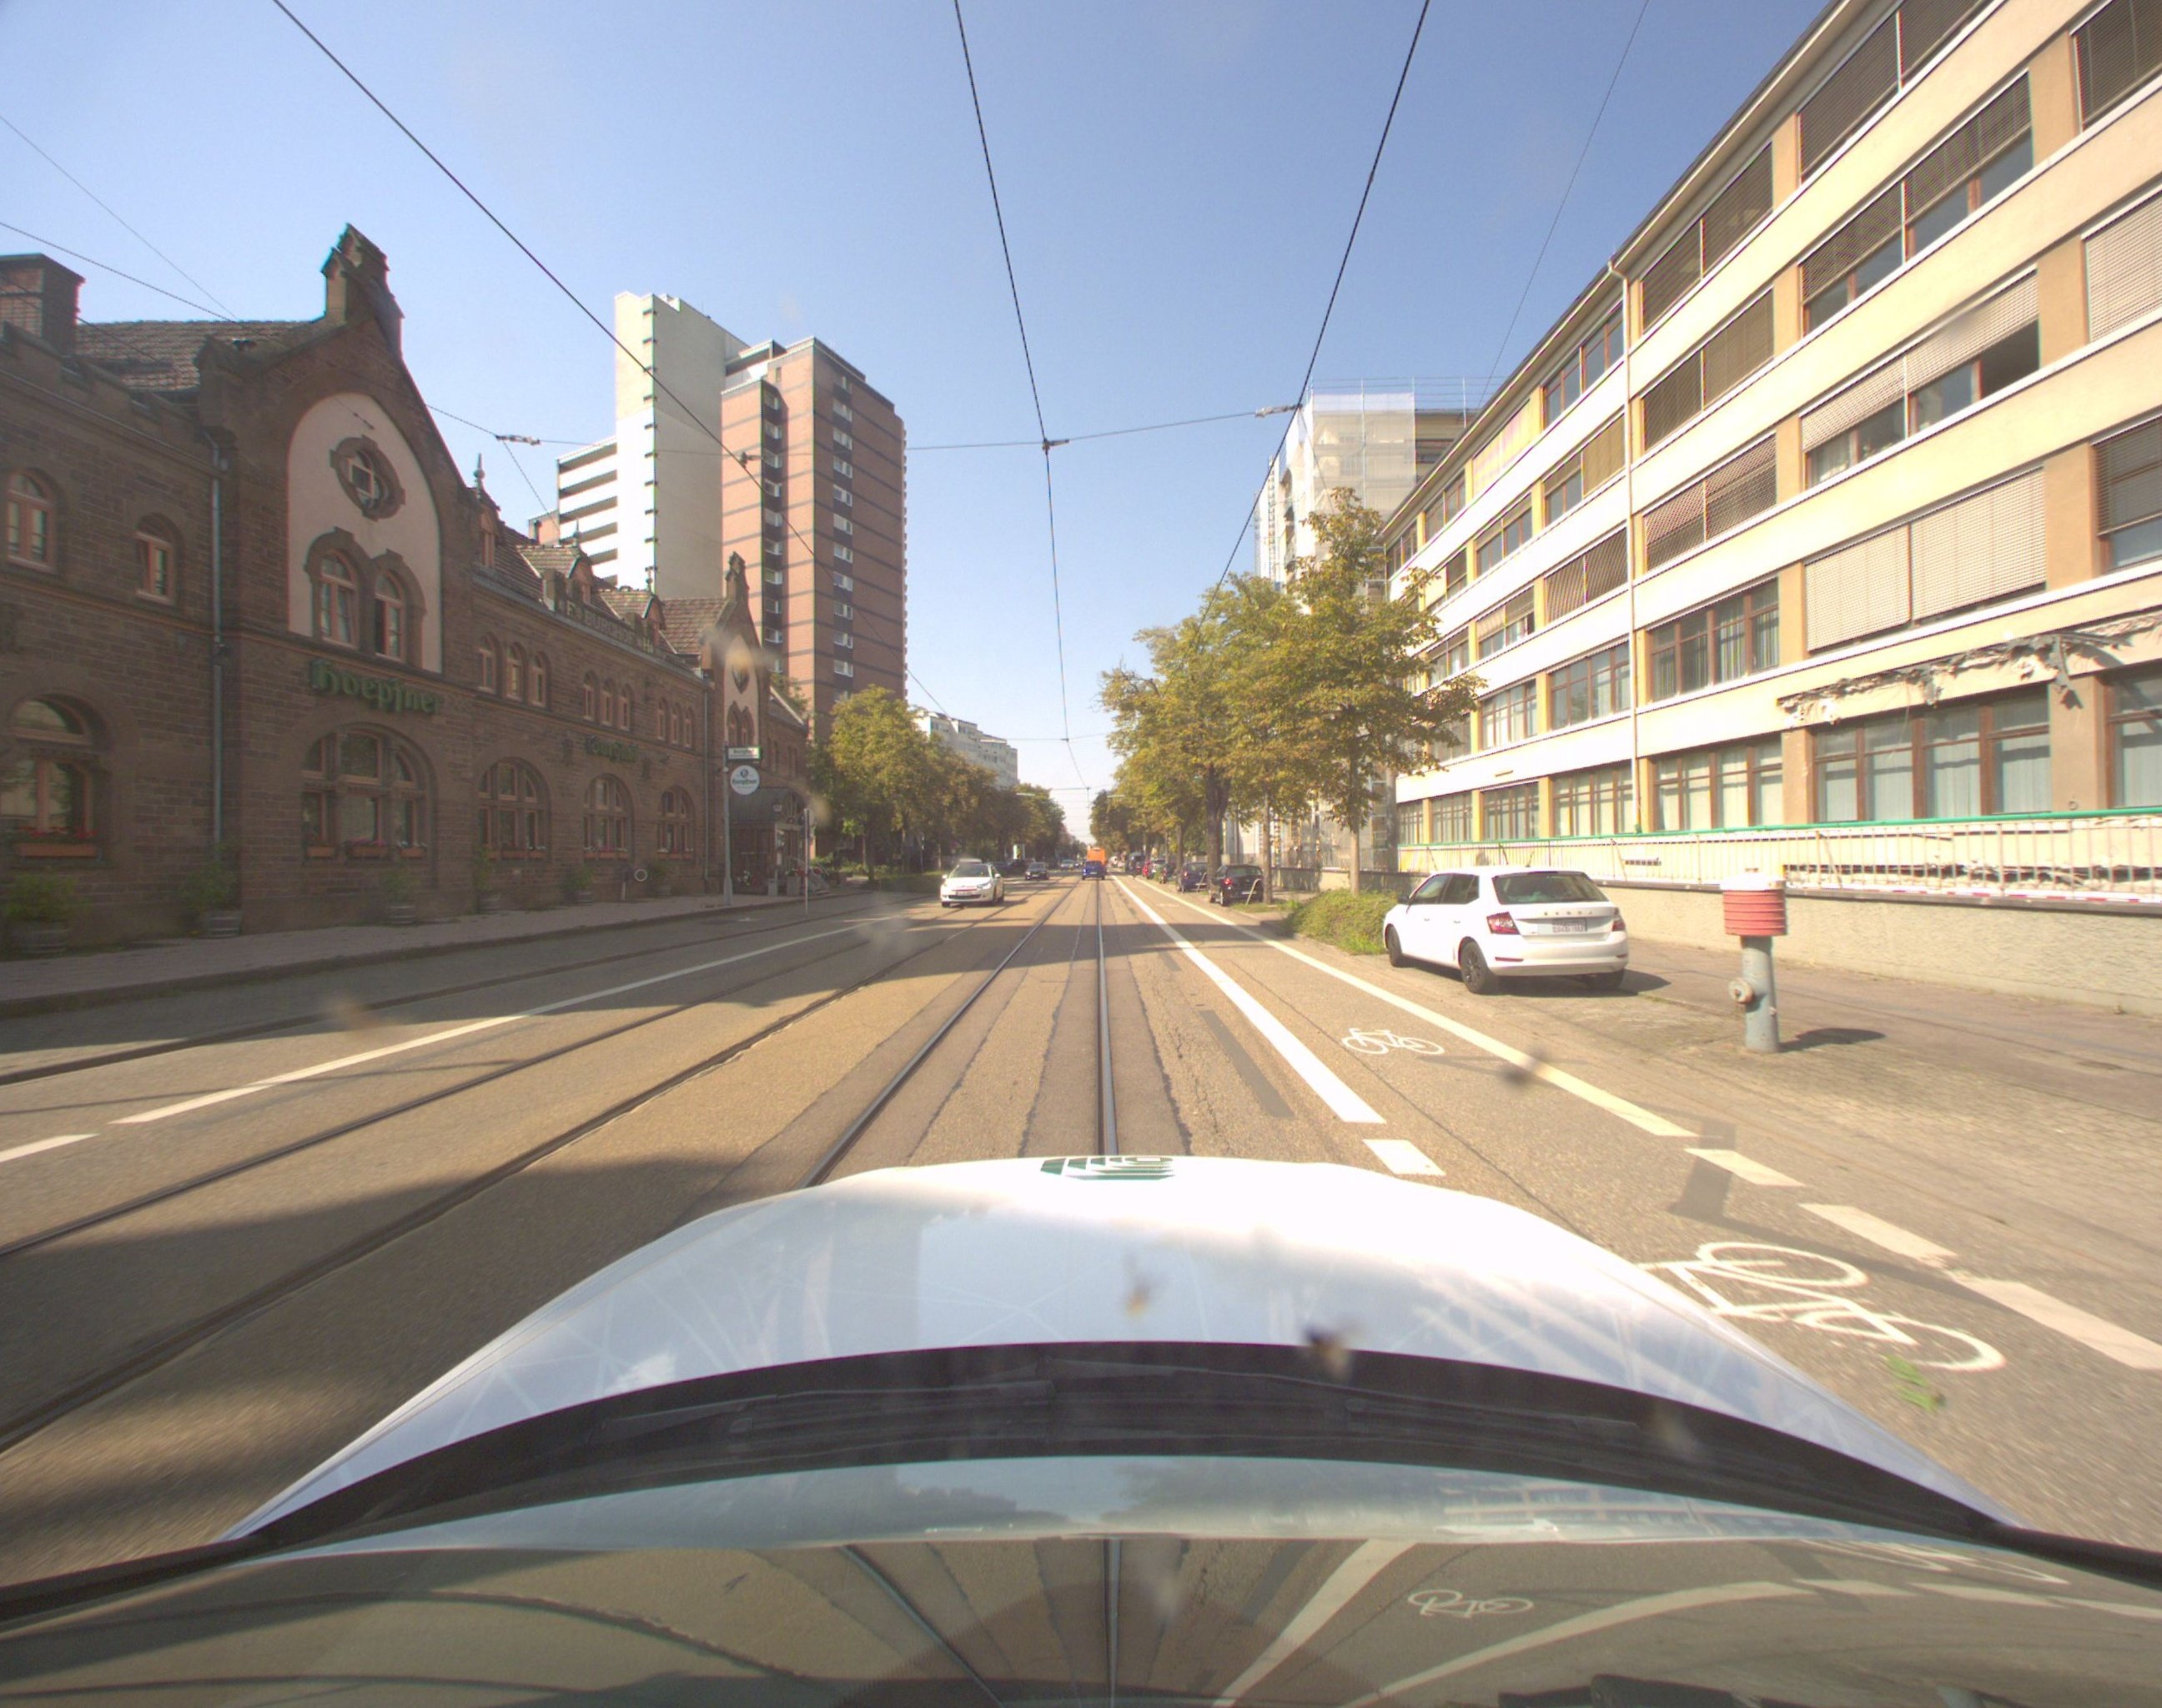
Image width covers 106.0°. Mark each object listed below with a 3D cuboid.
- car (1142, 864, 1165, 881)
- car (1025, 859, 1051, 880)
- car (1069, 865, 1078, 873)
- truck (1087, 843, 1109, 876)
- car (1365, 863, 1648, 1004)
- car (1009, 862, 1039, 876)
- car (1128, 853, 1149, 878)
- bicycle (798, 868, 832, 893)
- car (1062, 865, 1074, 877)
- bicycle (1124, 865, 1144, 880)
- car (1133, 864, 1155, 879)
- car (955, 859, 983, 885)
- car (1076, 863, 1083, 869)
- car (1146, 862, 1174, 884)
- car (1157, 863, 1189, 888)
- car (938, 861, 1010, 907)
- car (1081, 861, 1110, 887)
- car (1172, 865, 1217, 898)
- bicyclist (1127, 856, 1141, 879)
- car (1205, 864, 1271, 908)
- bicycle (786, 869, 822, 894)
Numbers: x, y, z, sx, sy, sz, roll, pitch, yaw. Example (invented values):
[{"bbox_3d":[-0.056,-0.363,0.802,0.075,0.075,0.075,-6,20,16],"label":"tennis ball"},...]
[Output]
[{"bbox_3d":[6.590,1.642,74.407,1.735,1.463,3.683,0,-1,0],"label":"car"},{"bbox_3d":[-3.407,1.197,64.615,1.675,1.571,4.207,0,-1,2],"label":"car"},{"bbox_3d":[-1.482,2.991,161.693,1.628,1.585,4.188,0,-1,0],"label":"car"},{"bbox_3d":[1.729,0.589,83.090,2.128,3.124,6.086,-1,-1,1],"label":"truck"},{"bbox_3d":[5.324,0.885,10.907,1.653,1.481,4.218,-2,-1,2],"label":"car"},{"bbox_3d":[-7.977,2.083,113.903,4.022,2.014,1.834,0,-1,-42],"label":"car"},{"bbox_3d":[6.709,1.326,95.148,1.987,2.756,5.760,0,-1,0],"label":"car"},{"bbox_3d":[-12.704,1.272,38.871,1.448,1.093,0.399,3,-1,-3],"label":"bicycle"},{"bbox_3d":[-1.957,2.602,124.985,1.774,1.684,4.346,0,-1,0],"label":"car"},{"bbox_3d":[4.231,1.471,65.723,1.396,1.134,4.000,-1,-1,1],"label":"bicycle"},{"bbox_3d":[6.493,1.820,84.547,1.902,1.432,4.291,0,-1,0],"label":"car"},{"bbox_3d":[-8.069,1.285,58.288,1.748,1.796,3.984,0,-1,-11],"label":"car"},{"bbox_3d":[-0.482,3.222,216.002,1.892,1.562,4.121,0,-1,0],"label":"car"},{"bbox_3d":[6.176,1.441,64.029,1.734,1.668,4.361,0,-1,0],"label":"car"},{"bbox_3d":[6.041,1.384,53.935,1.628,1.585,4.188,0,-1,0],"label":"car"},{"bbox_3d":[-3.774,1.023,29.526,1.840,1.492,4.869,0,-1,2],"label":"car"},{"bbox_3d":[1.162,1.537,63.428,2.128,1.858,5.569,-2,-1,1],"label":"car"},{"bbox_3d":[5.634,1.335,40.838,1.736,1.556,4.218,-2,-1,2],"label":"car"},{"bbox_3d":[4.262,1.057,65.702,1.028,1.812,1.016,0,-1,1],"label":"bicyclist"},{"bbox_3d":[5.565,1.101,29.289,1.653,1.408,4.218,-2,-1,2],"label":"car"},{"bbox_3d":[-12.681,1.256,37.295,1.448,1.093,0.399,3,-1,-3],"label":"bicycle"}]
